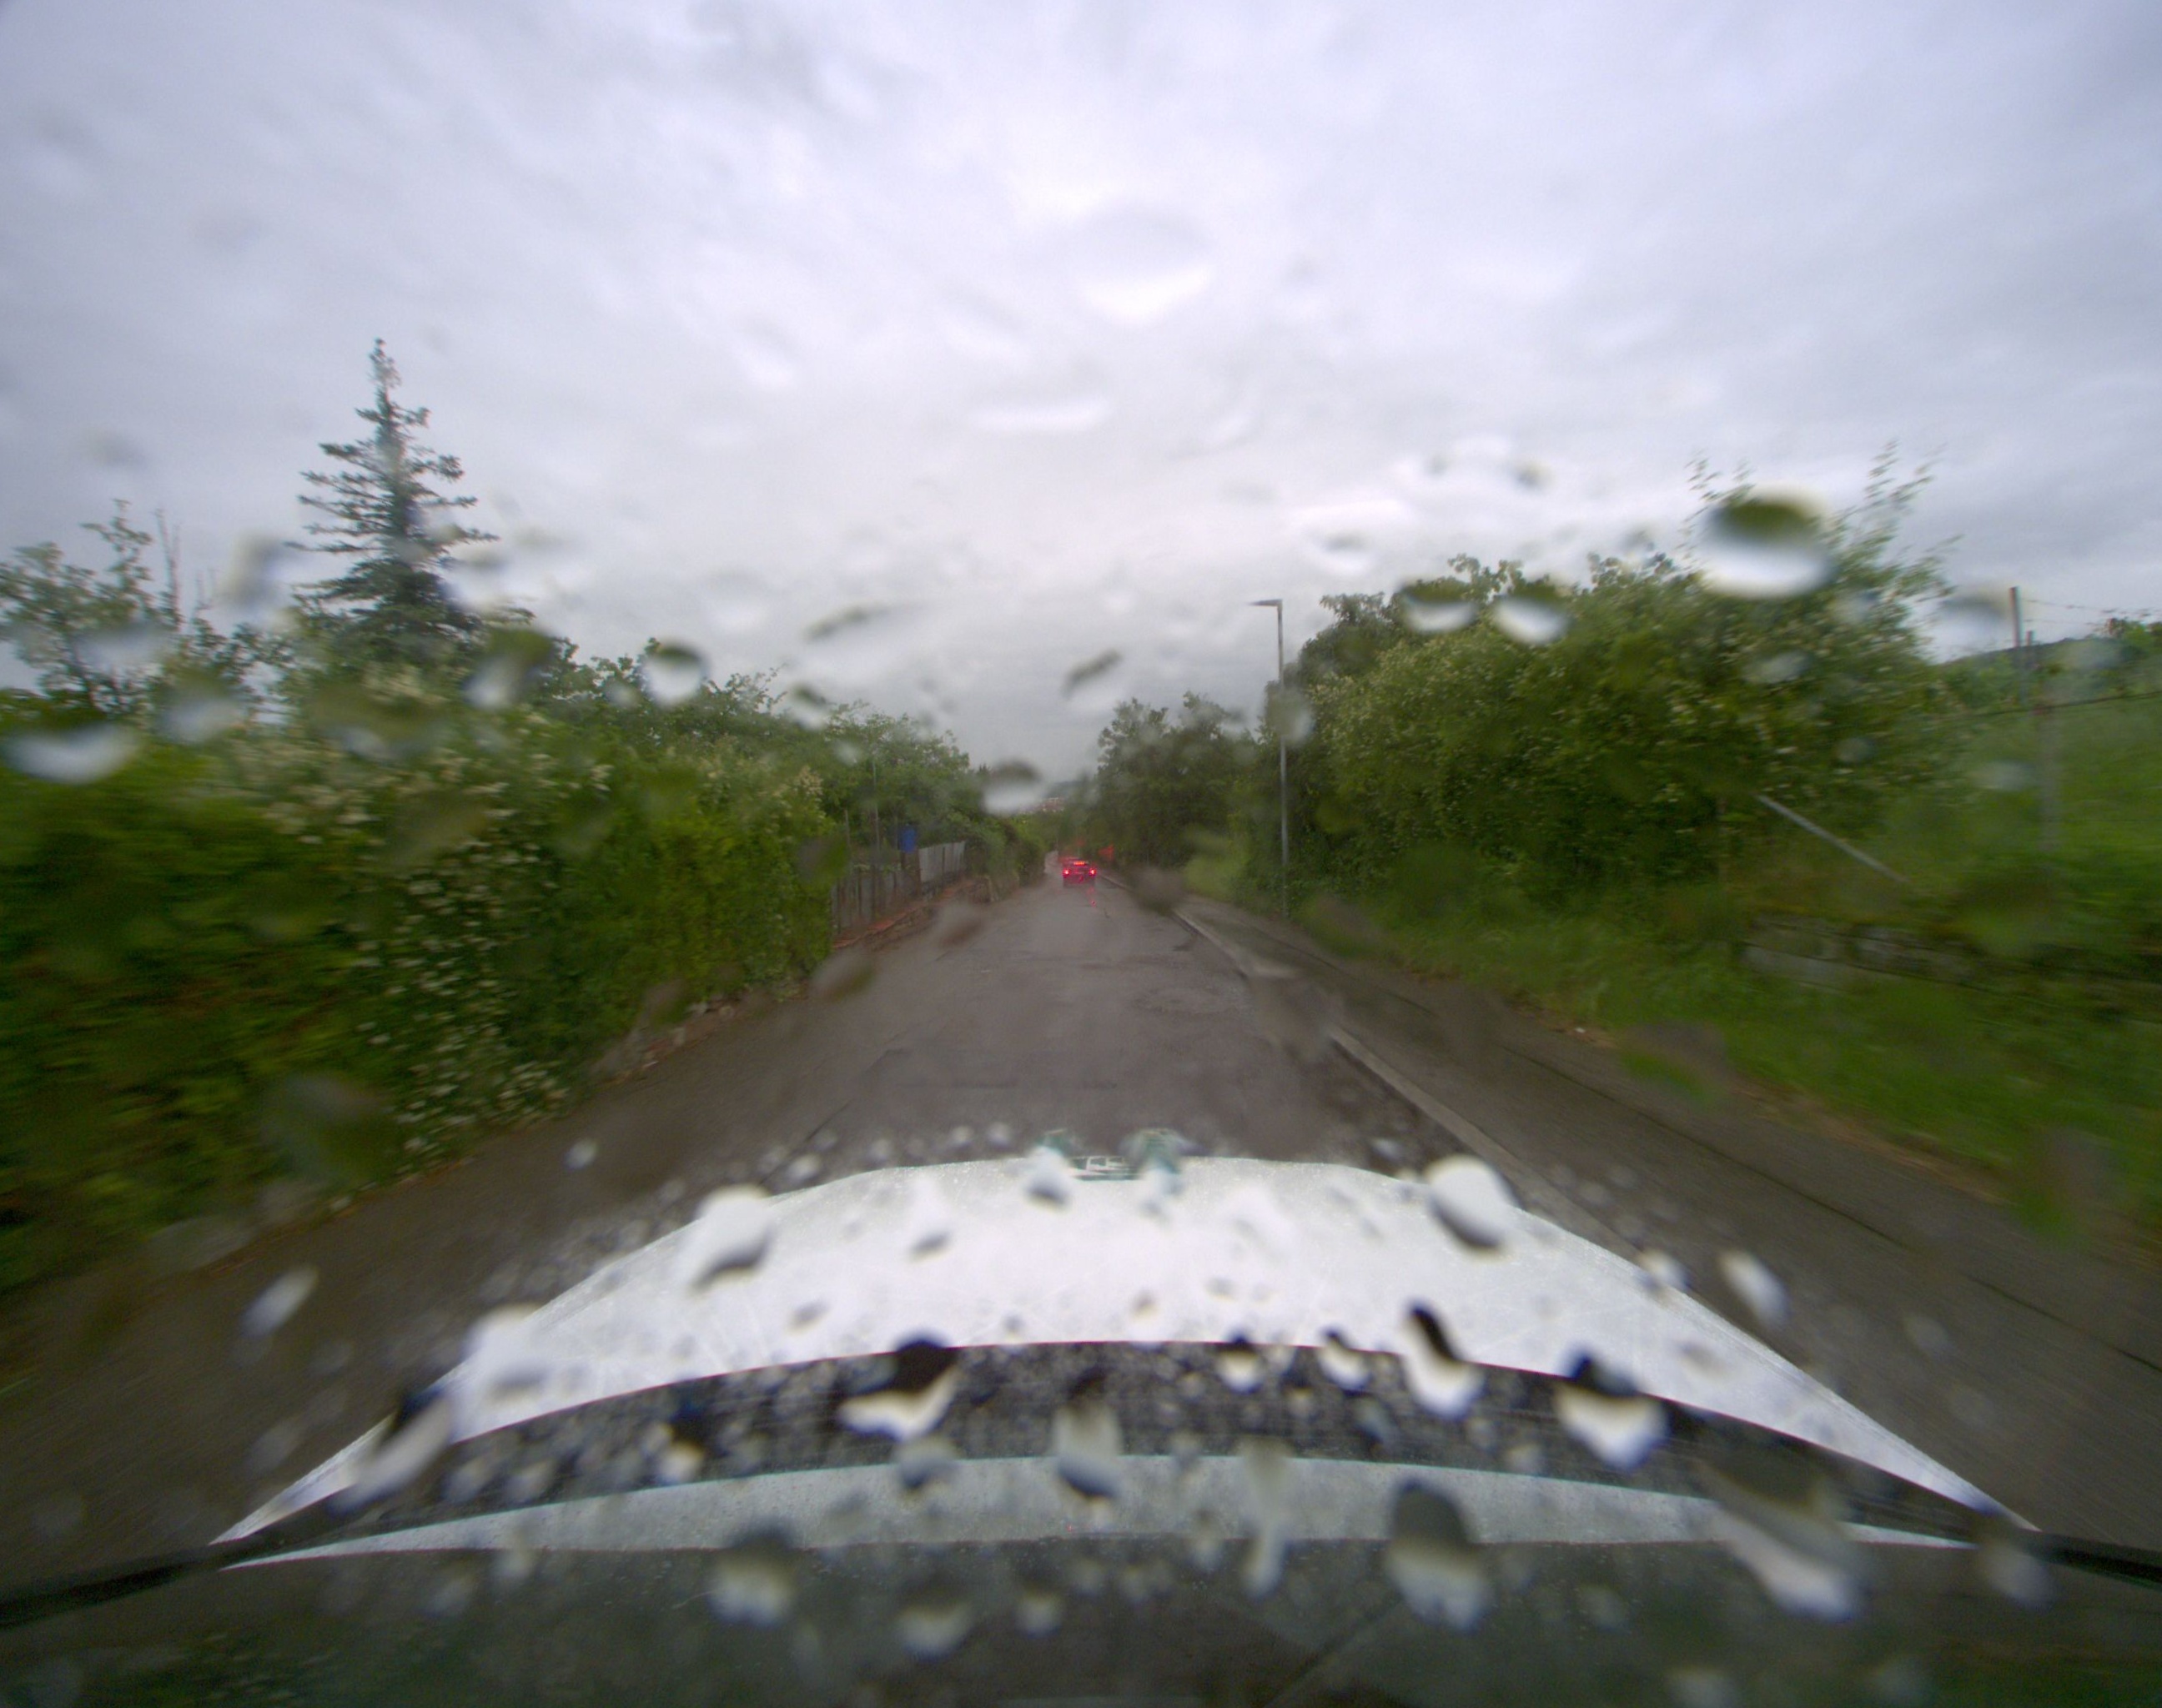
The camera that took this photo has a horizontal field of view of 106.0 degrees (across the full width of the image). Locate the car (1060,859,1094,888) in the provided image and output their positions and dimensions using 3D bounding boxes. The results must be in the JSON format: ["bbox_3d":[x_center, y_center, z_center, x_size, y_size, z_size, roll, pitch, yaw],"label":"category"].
[{"bbox_3d":[-0.225,1.063,46.572,1.829,1.464,3.999,-1,1,-1],"label":"car"}]

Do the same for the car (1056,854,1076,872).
[{"bbox_3d":[-1.443,0.898,79.610,1.672,1.565,3.796,-1,2,1],"label":"car"}]
